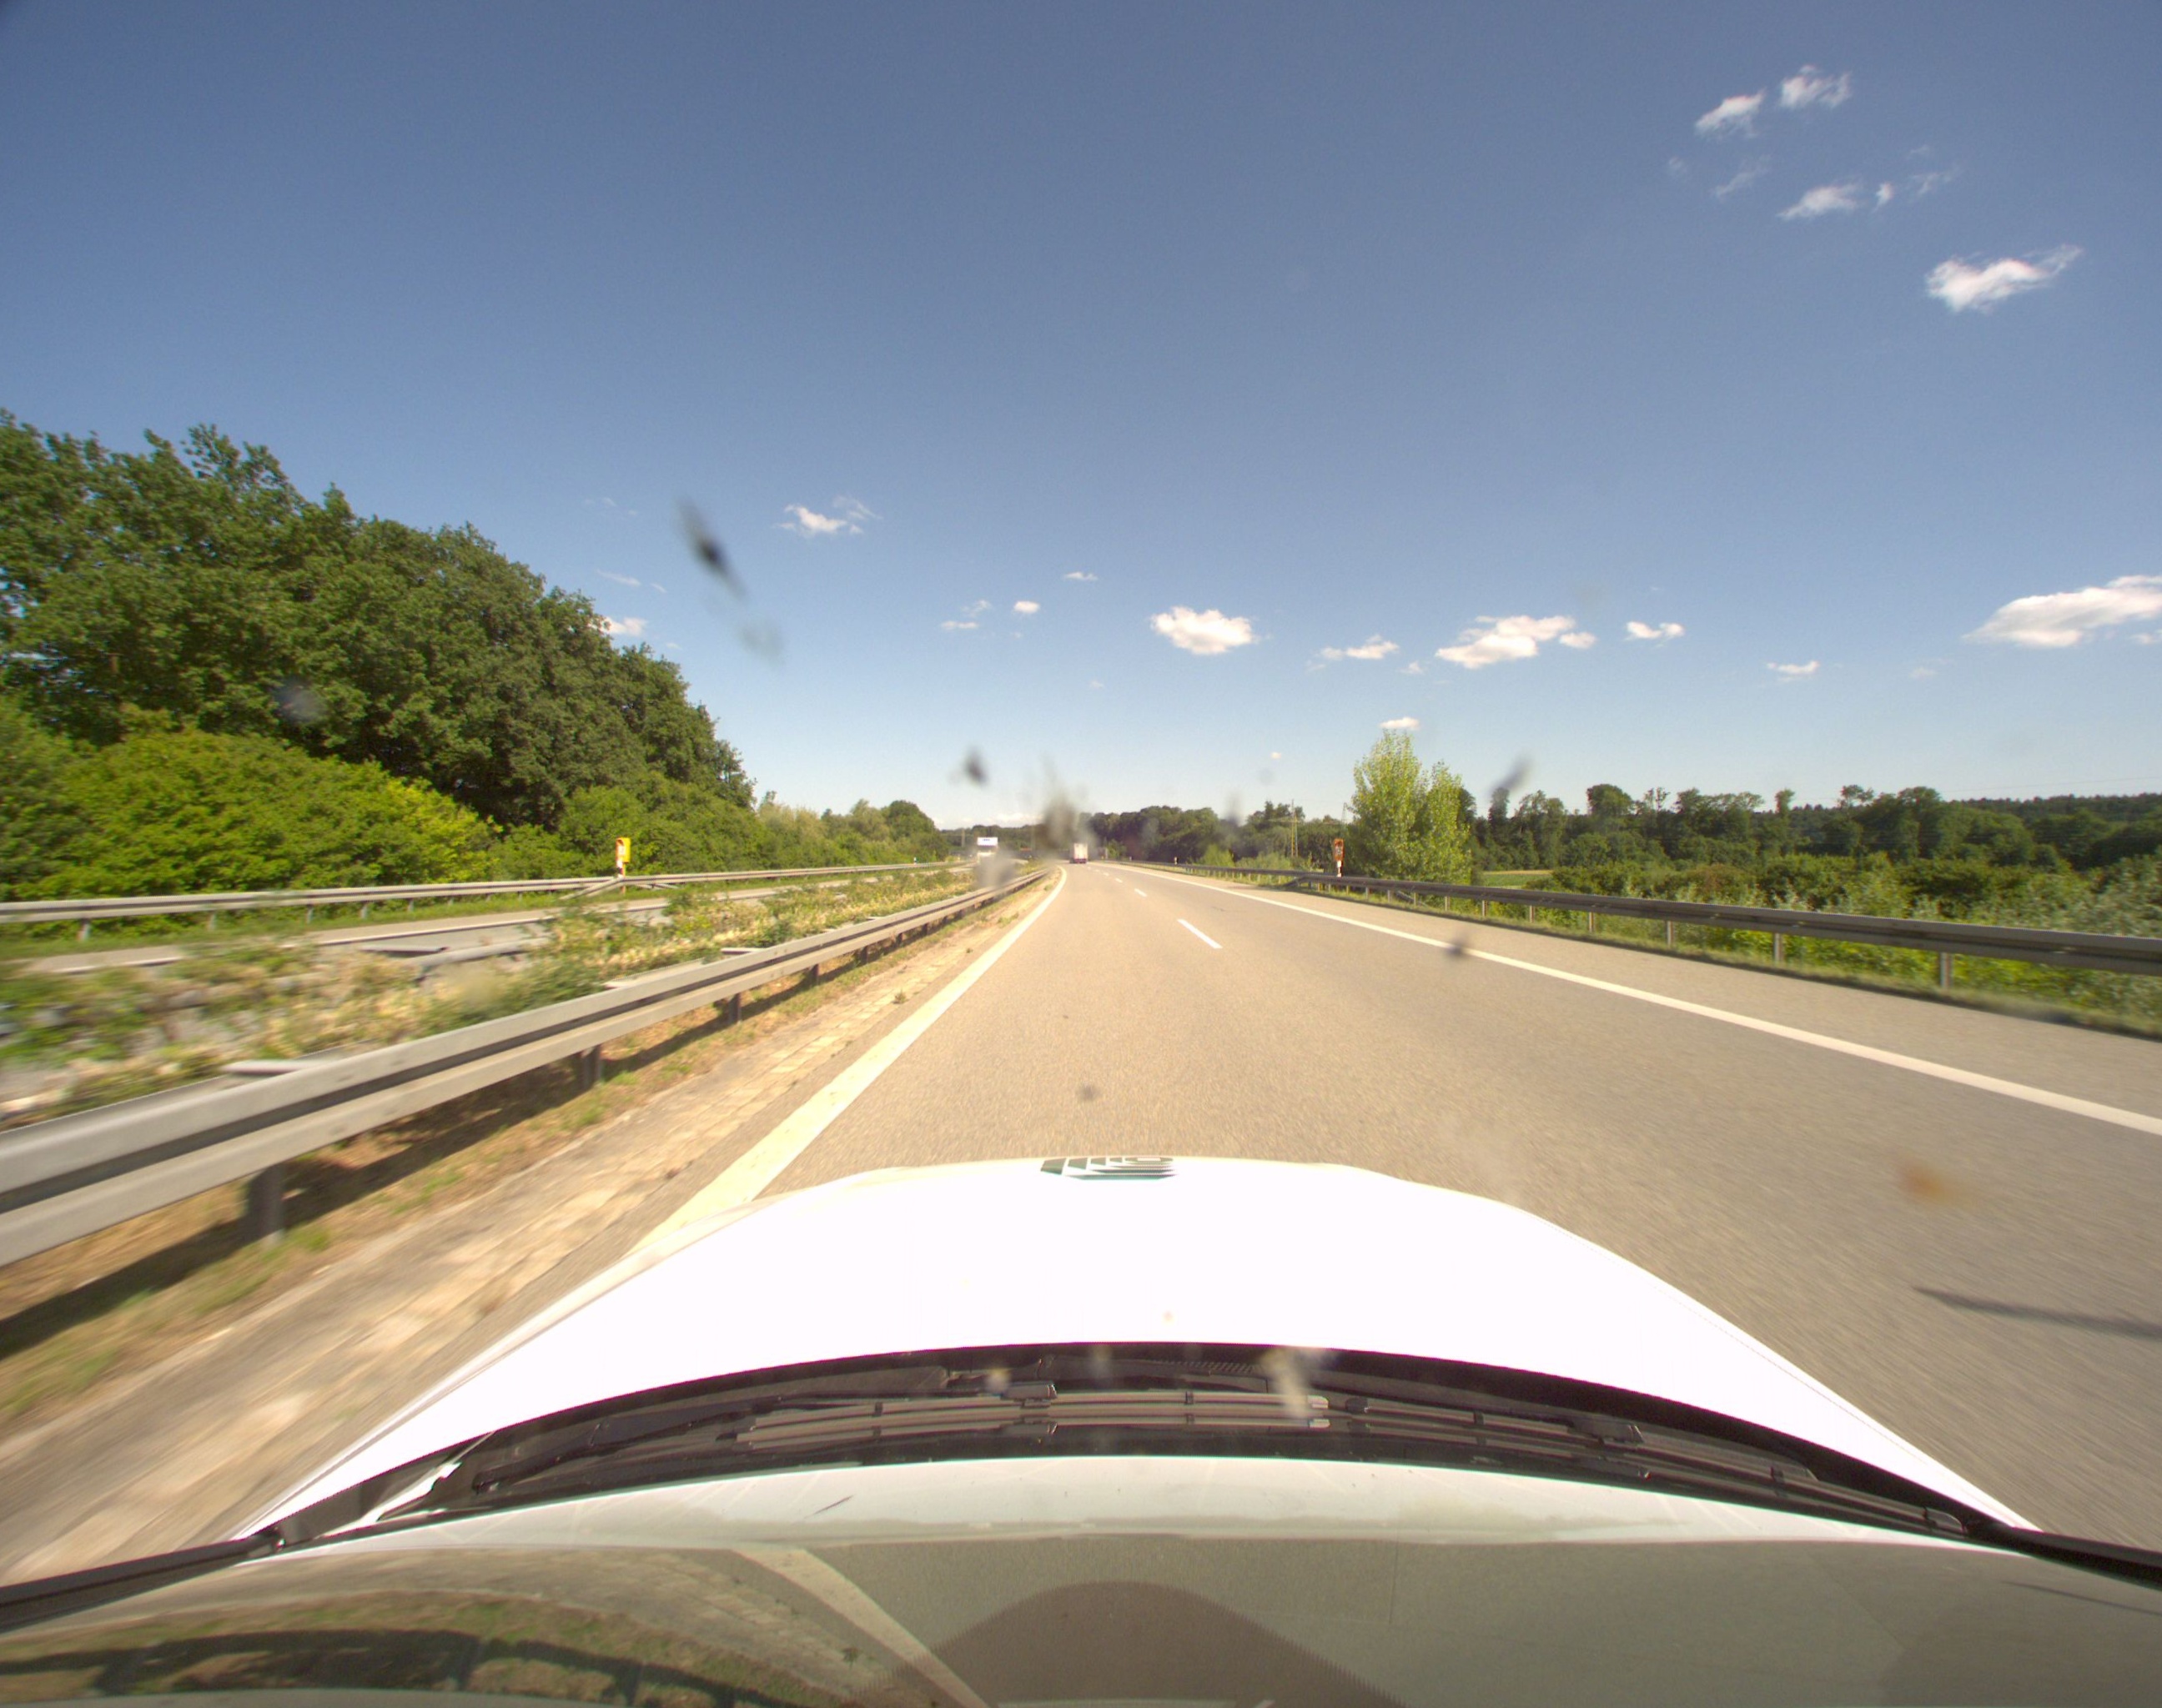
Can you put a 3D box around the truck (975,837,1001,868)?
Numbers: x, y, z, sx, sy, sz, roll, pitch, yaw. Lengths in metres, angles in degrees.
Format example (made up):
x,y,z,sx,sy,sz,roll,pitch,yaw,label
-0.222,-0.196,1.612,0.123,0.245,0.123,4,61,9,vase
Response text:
x,y,z,sx,sy,sz,roll,pitch,yaw,label
-11.810,-0.193,103.578,2.734,3.727,5.967,-1,0,-2,truck

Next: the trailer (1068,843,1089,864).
x,y,z,sx,sy,sz,roll,pitch,yaw,label
-0.648,-0.094,162.685,2.881,4.066,12.393,-1,0,-6,trailer

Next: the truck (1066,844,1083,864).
x,y,z,sx,sy,sz,roll,pitch,yaw,label
-1.340,-0.020,169.360,2.828,4.012,6.570,-1,0,-7,truck
